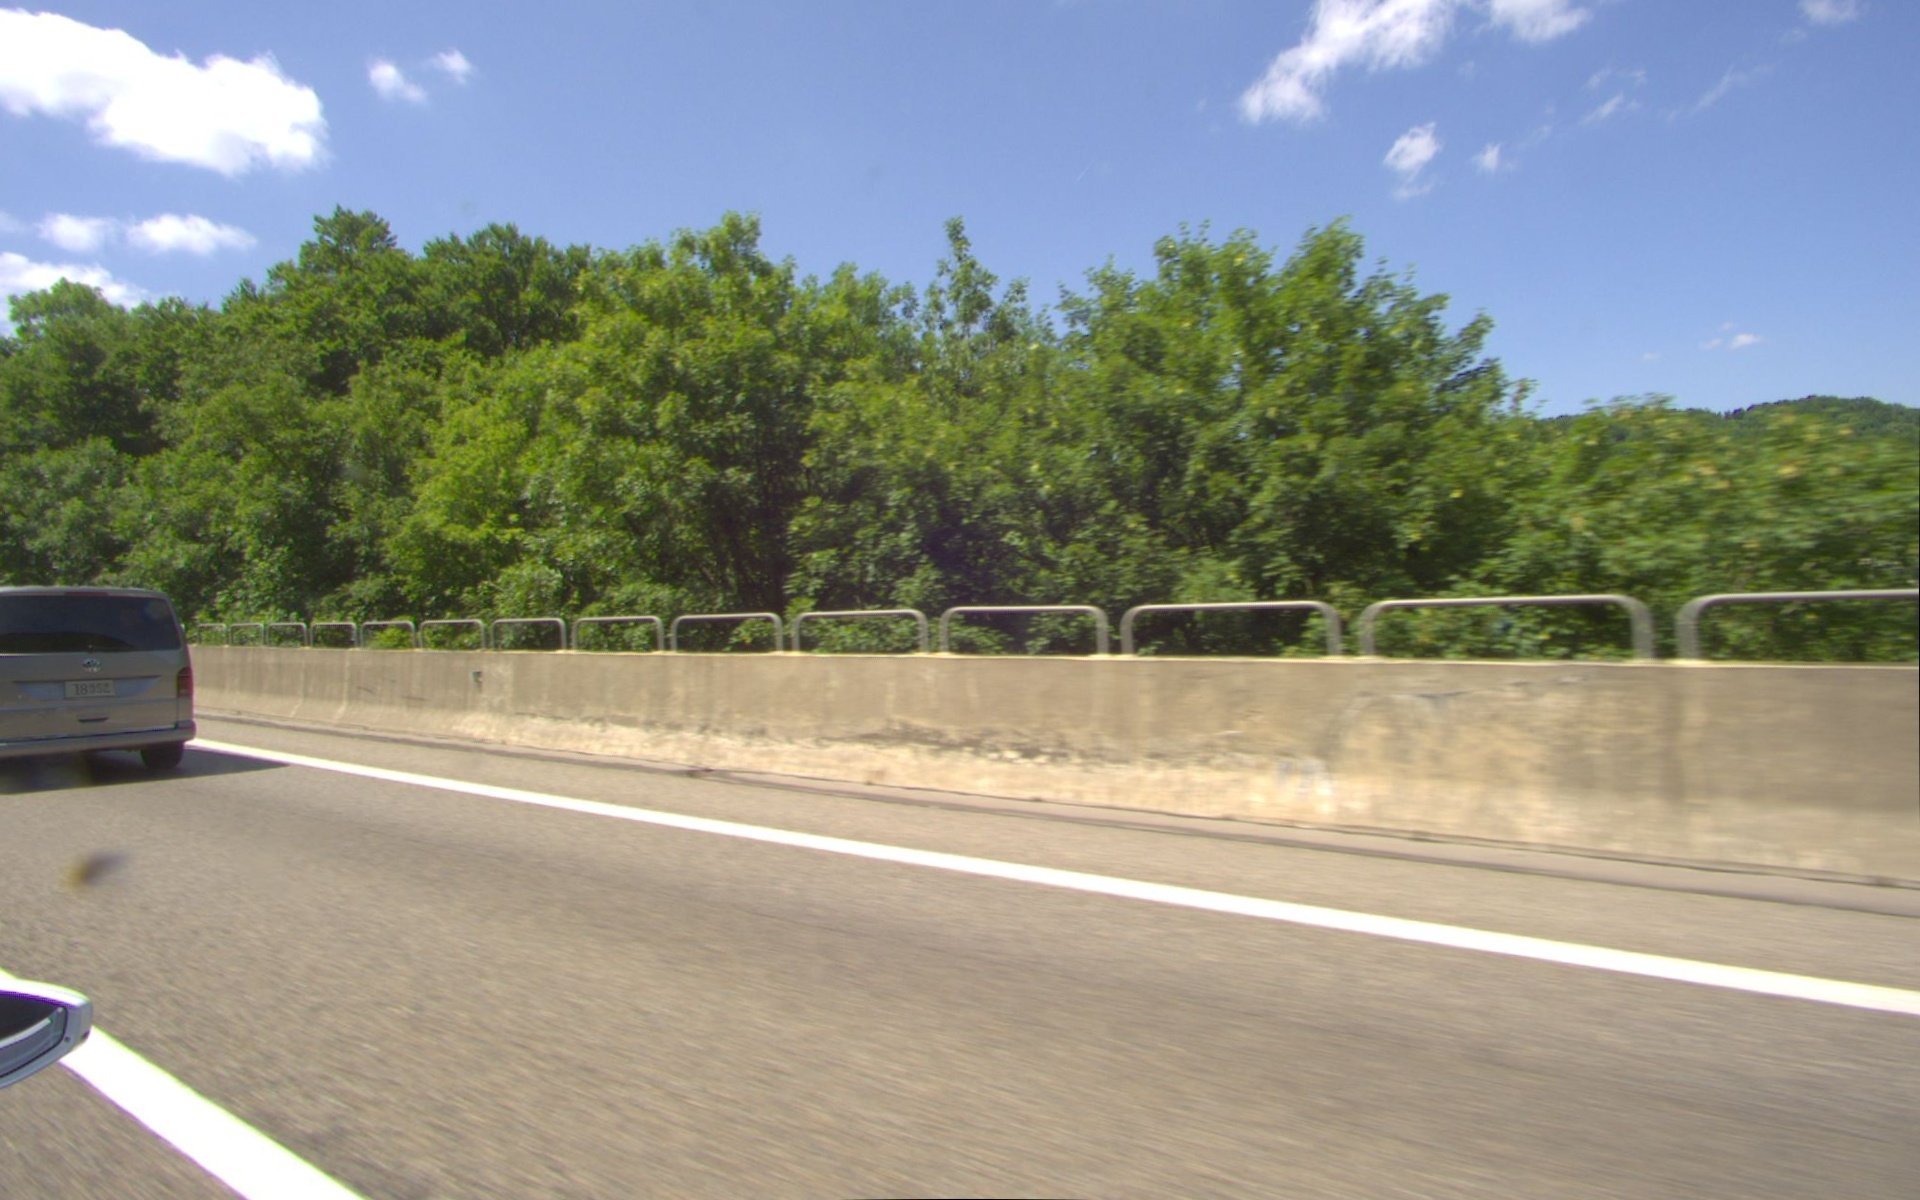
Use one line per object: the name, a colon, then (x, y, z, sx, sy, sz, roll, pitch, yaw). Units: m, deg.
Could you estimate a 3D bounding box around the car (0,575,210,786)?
car: (-10.429, 0.802, 11.178, 4.631, 1.956, 1.935, -2, -1, 35)
